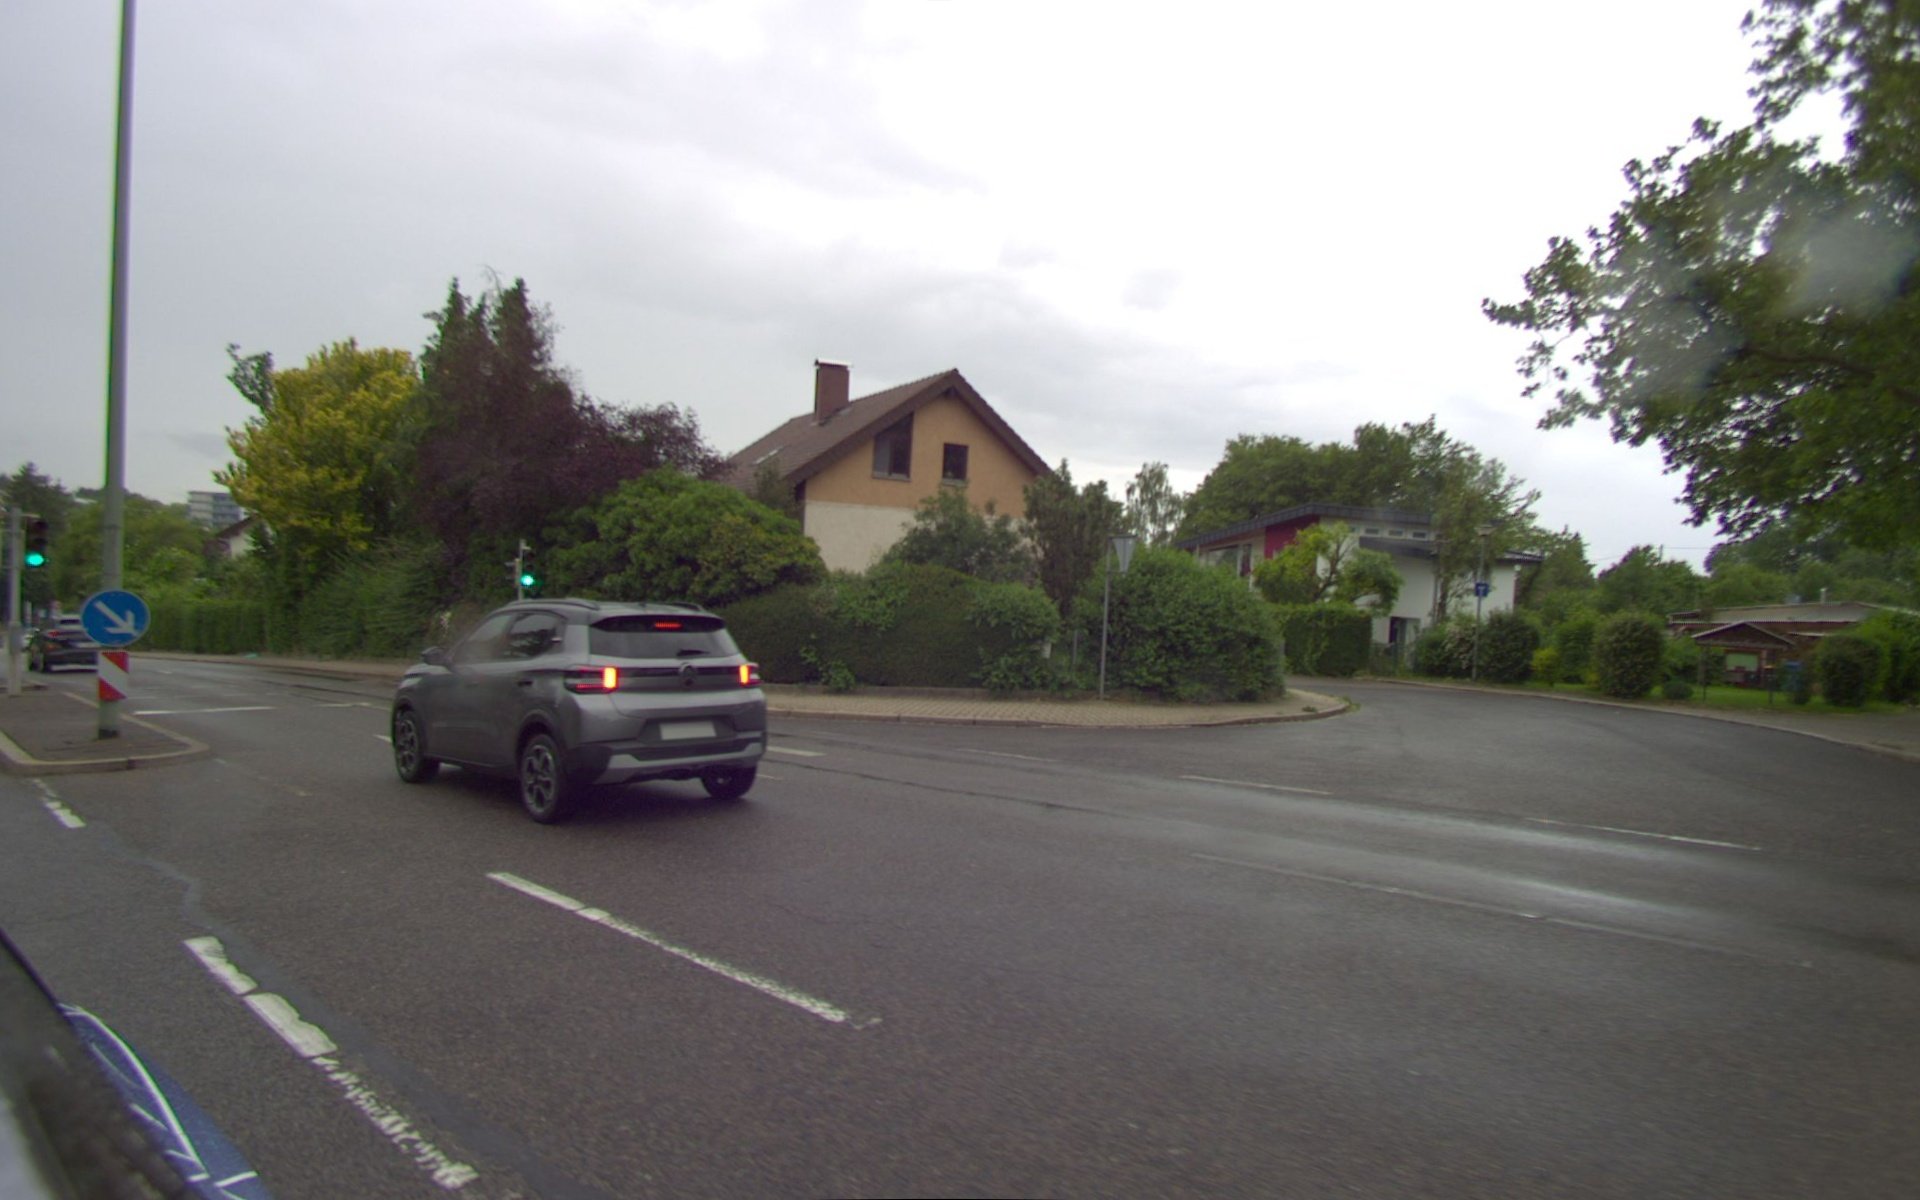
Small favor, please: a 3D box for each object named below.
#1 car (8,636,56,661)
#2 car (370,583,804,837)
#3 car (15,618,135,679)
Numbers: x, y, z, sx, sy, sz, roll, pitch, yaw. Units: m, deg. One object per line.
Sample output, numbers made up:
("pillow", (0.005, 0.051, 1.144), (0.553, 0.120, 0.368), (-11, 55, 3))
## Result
("car", (-56.344, 2.945, 61.425), (4.155, 1.497, 1.709), (-2, -4, 42))
("car", (-3.193, 0.759, 8.358), (3.730, 1.615, 1.776), (-1, -3, 41))
("car", (-24.399, 1.299, 27.869), (3.876, 1.575, 2.004), (-1, -3, 42))
